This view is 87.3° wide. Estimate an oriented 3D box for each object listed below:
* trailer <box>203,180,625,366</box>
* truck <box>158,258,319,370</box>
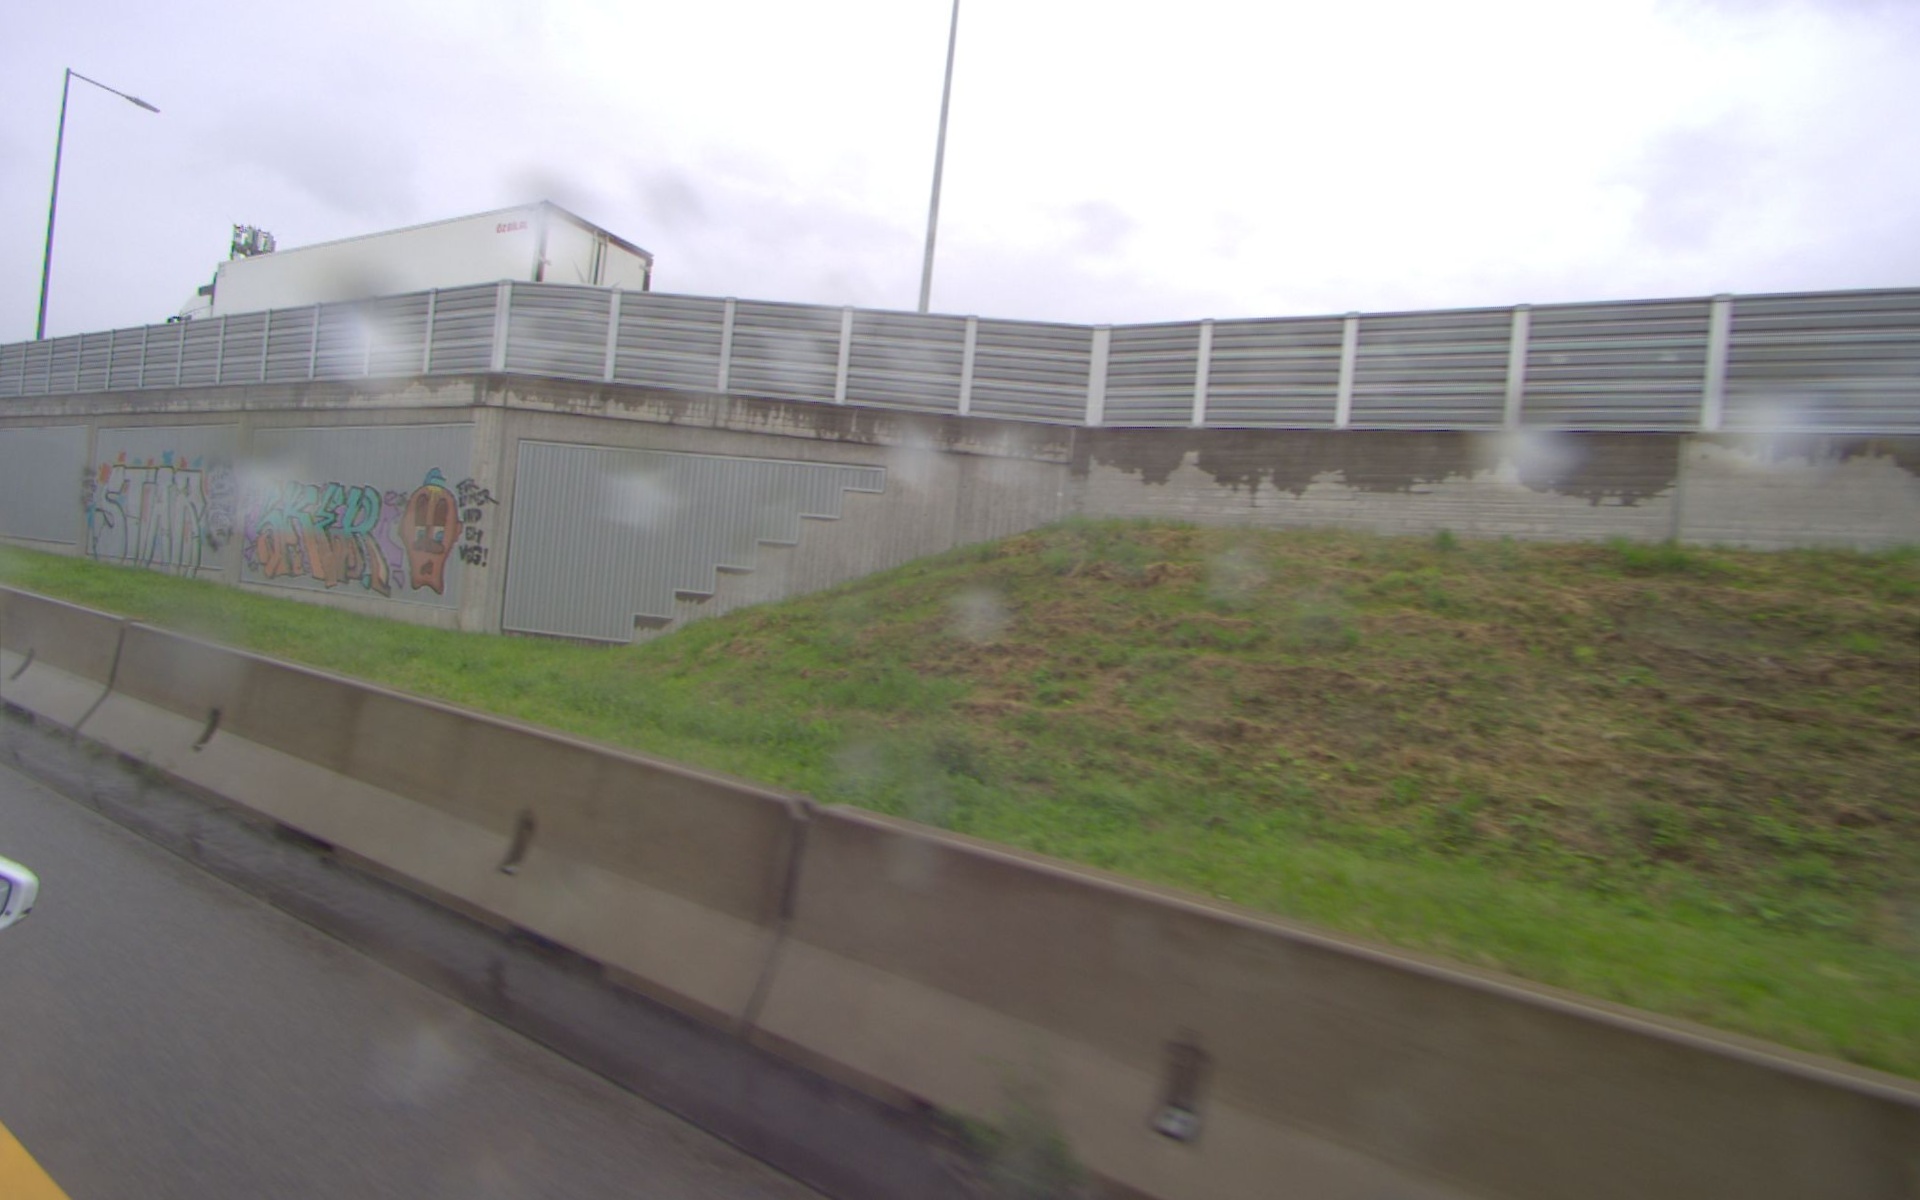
[{"bbox_3d":[-13.055,-7.056,22.986,13.544,2.130,1.997,5,-2,32],"label":"trailer"},{"bbox_3d":[-19.349,-7.550,26.951,3.992,2.037,1.997,5,-2,32],"label":"truck"}]
